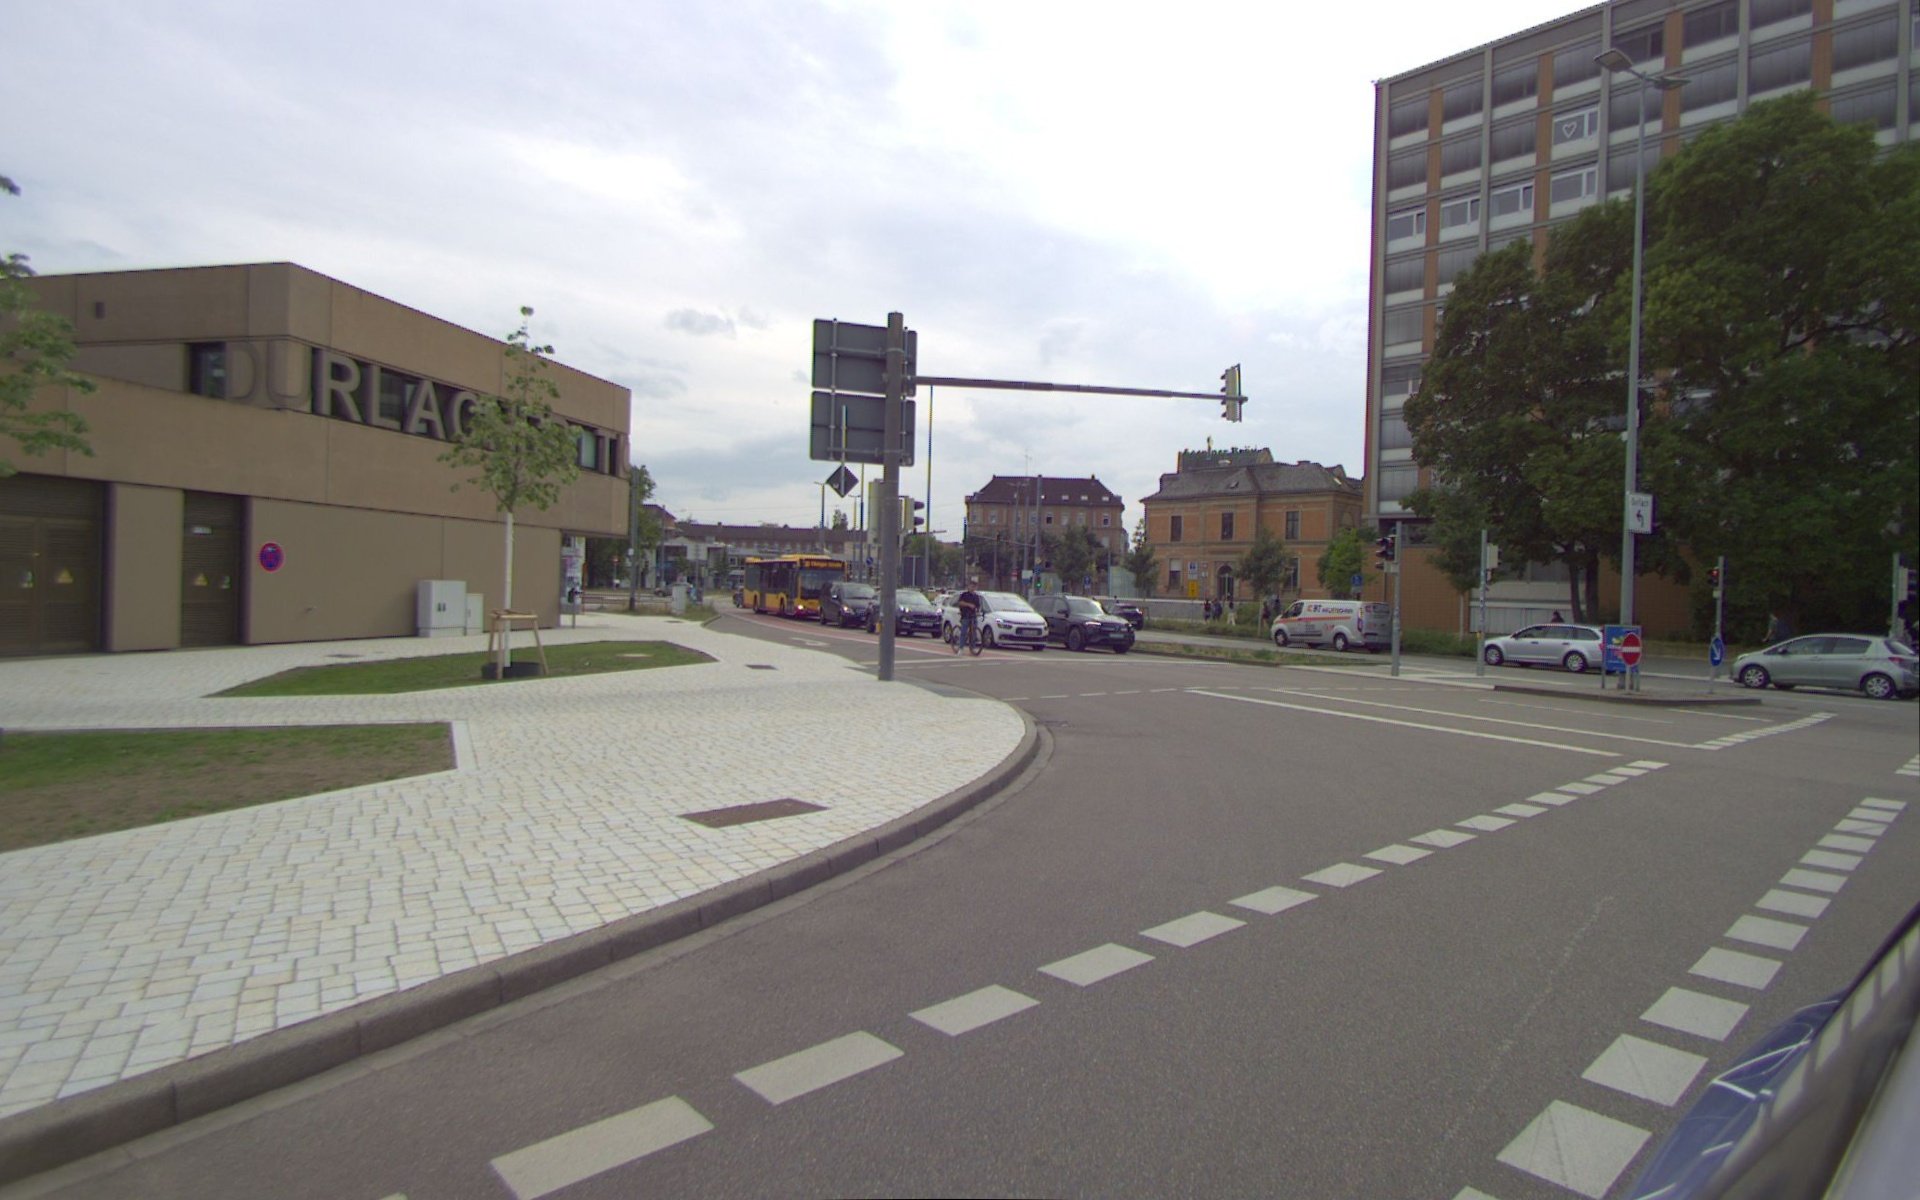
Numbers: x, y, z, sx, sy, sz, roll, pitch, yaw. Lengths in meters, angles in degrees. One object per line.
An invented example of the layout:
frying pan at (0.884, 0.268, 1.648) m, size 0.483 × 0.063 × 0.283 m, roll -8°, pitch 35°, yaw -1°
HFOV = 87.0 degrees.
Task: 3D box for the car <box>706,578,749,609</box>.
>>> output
car at (-15.980, -0.463, 69.459) m, size 1.958 × 1.923 × 4.298 m, roll 3°, pitch -1°, yaw -25°

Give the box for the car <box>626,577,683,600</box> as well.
car at (-24.647, -0.922, 81.714) m, size 3.956 × 1.594 × 1.997 m, roll 4°, pitch -1°, yaw -41°

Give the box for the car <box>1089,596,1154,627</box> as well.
car at (8.958, 0.624, 56.555) m, size 1.824 × 1.552 × 4.010 m, roll 3°, pitch -1°, yaw -20°

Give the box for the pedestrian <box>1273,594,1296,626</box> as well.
pedestrian at (16.664, 0.498, 51.937) m, size 0.764 × 1.593 × 0.814 m, roll 0°, pitch 1°, yaw -17°

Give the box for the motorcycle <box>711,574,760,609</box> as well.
motorcycle at (-13.978, -0.542, 62.781) m, size 1.959 × 2.039 × 4.006 m, roll 3°, pitch -1°, yaw -27°

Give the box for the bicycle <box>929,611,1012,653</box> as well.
bicycle at (0.219, 0.754, 24.588) m, size 0.847 × 0.888 × 2.522 m, roll 3°, pitch -1°, yaw -29°

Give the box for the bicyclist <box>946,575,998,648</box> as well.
bicyclist at (0.286, 0.271, 24.517) m, size 0.852 × 1.690 × 0.882 m, roll 3°, pitch -1°, yaw -30°

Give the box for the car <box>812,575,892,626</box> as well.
car at (-4.575, 0.000, 42.342) m, size 1.958 × 1.923 × 4.298 m, roll 3°, pitch -1°, yaw -25°

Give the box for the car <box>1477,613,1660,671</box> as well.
car at (18.507, 1.247, 31.036) m, size 1.788 × 1.493 × 4.535 m, roll 3°, pitch -1°, yaw -27°

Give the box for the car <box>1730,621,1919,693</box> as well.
car at (21.591, 1.356, 24.881) m, size 1.637 × 1.508 × 3.881 m, roll 3°, pitch -1°, yaw -27°

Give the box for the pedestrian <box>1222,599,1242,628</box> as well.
pedestrian at (15.500, 0.752, 57.675) m, size 0.764 × 1.593 × 0.814 m, roll 0°, pitch 1°, yaw -13°

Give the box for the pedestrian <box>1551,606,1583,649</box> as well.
pedestrian at (23.149, 1.034, 38.611) m, size 0.766 × 1.593 × 0.812 m, roll 0°, pitch 1°, yaw -36°

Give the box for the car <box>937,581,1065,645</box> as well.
car at (1.124, 0.348, 29.861) m, size 1.958 × 1.672 × 4.298 m, roll 3°, pitch -1°, yaw -25°

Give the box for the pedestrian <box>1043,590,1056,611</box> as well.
pedestrian at (6.916, 0.006, 77.872) m, size 0.764 × 1.593 × 0.814 m, roll 0°, pitch 1°, yaw -13°

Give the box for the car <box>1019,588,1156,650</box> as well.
car at (3.766, 0.539, 30.765) m, size 1.958 × 1.672 × 4.520 m, roll 3°, pitch -1°, yaw -25°

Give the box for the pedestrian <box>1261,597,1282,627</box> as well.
pedestrian at (16.802, 0.662, 54.537) m, size 0.764 × 1.593 × 0.814 m, roll 0°, pitch 1°, yaw -13°

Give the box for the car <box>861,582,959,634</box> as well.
car at (-1.874, 0.266, 36.327) m, size 1.958 × 1.672 × 4.298 m, roll 3°, pitch -1°, yaw -25°

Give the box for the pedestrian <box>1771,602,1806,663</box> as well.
pedestrian at (26.038, 1.019, 31.807) m, size 0.628 × 1.876 × 0.708 m, roll 1°, pitch 0°, yaw -36°

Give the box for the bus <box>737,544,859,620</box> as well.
bus at (-8.666, -0.868, 52.246) m, size 3.092 × 3.296 × 12.436 m, roll 3°, pitch -1°, yaw -23°

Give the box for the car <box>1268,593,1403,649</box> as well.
car at (14.673, 0.779, 39.924) m, size 1.787 × 1.984 × 5.214 m, roll 3°, pitch -1°, yaw -24°

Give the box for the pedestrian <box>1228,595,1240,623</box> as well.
pedestrian at (15.574, 0.528, 57.533) m, size 0.546 × 1.555 × 0.543 m, roll 1°, pitch 1°, yaw 31°

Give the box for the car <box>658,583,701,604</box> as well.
car at (-27.327, -0.608, 98.685) m, size 3.916 × 1.788 × 2.004 m, roll 3°, pitch -1°, yaw -13°

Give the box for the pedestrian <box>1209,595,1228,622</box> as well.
pedestrian at (15.075, 0.489, 58.945) m, size 0.764 × 1.593 × 0.814 m, roll 0°, pitch 1°, yaw -13°

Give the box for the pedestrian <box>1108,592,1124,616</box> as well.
pedestrian at (10.426, 0.274, 67.725) m, size 0.764 × 1.593 × 0.814 m, roll 0°, pitch 1°, yaw -13°

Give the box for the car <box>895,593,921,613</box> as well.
car at (-5.508, 0.308, 106.360) m, size 1.958 × 2.039 × 4.007 m, roll 3°, pitch -1°, yaw -12°

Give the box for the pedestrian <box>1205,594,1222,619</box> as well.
pedestrian at (16.349, 0.432, 65.331) m, size 0.764 × 1.593 × 0.814 m, roll 0°, pitch 1°, yaw -13°

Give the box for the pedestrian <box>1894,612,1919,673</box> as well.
pedestrian at (27.515, 1.221, 29.182) m, size 0.628 × 1.732 × 0.708 m, roll 2°, pitch 0°, yaw -36°

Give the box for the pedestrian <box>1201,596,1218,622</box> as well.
pedestrian at (15.523, 0.563, 62.939) m, size 0.764 × 1.593 × 0.814 m, roll 0°, pitch 1°, yaw -13°

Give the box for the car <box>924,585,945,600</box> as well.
car at (-3.051, -0.839, 119.304) m, size 1.802 × 1.635 × 3.552 m, roll 3°, pitch -1°, yaw -11°
